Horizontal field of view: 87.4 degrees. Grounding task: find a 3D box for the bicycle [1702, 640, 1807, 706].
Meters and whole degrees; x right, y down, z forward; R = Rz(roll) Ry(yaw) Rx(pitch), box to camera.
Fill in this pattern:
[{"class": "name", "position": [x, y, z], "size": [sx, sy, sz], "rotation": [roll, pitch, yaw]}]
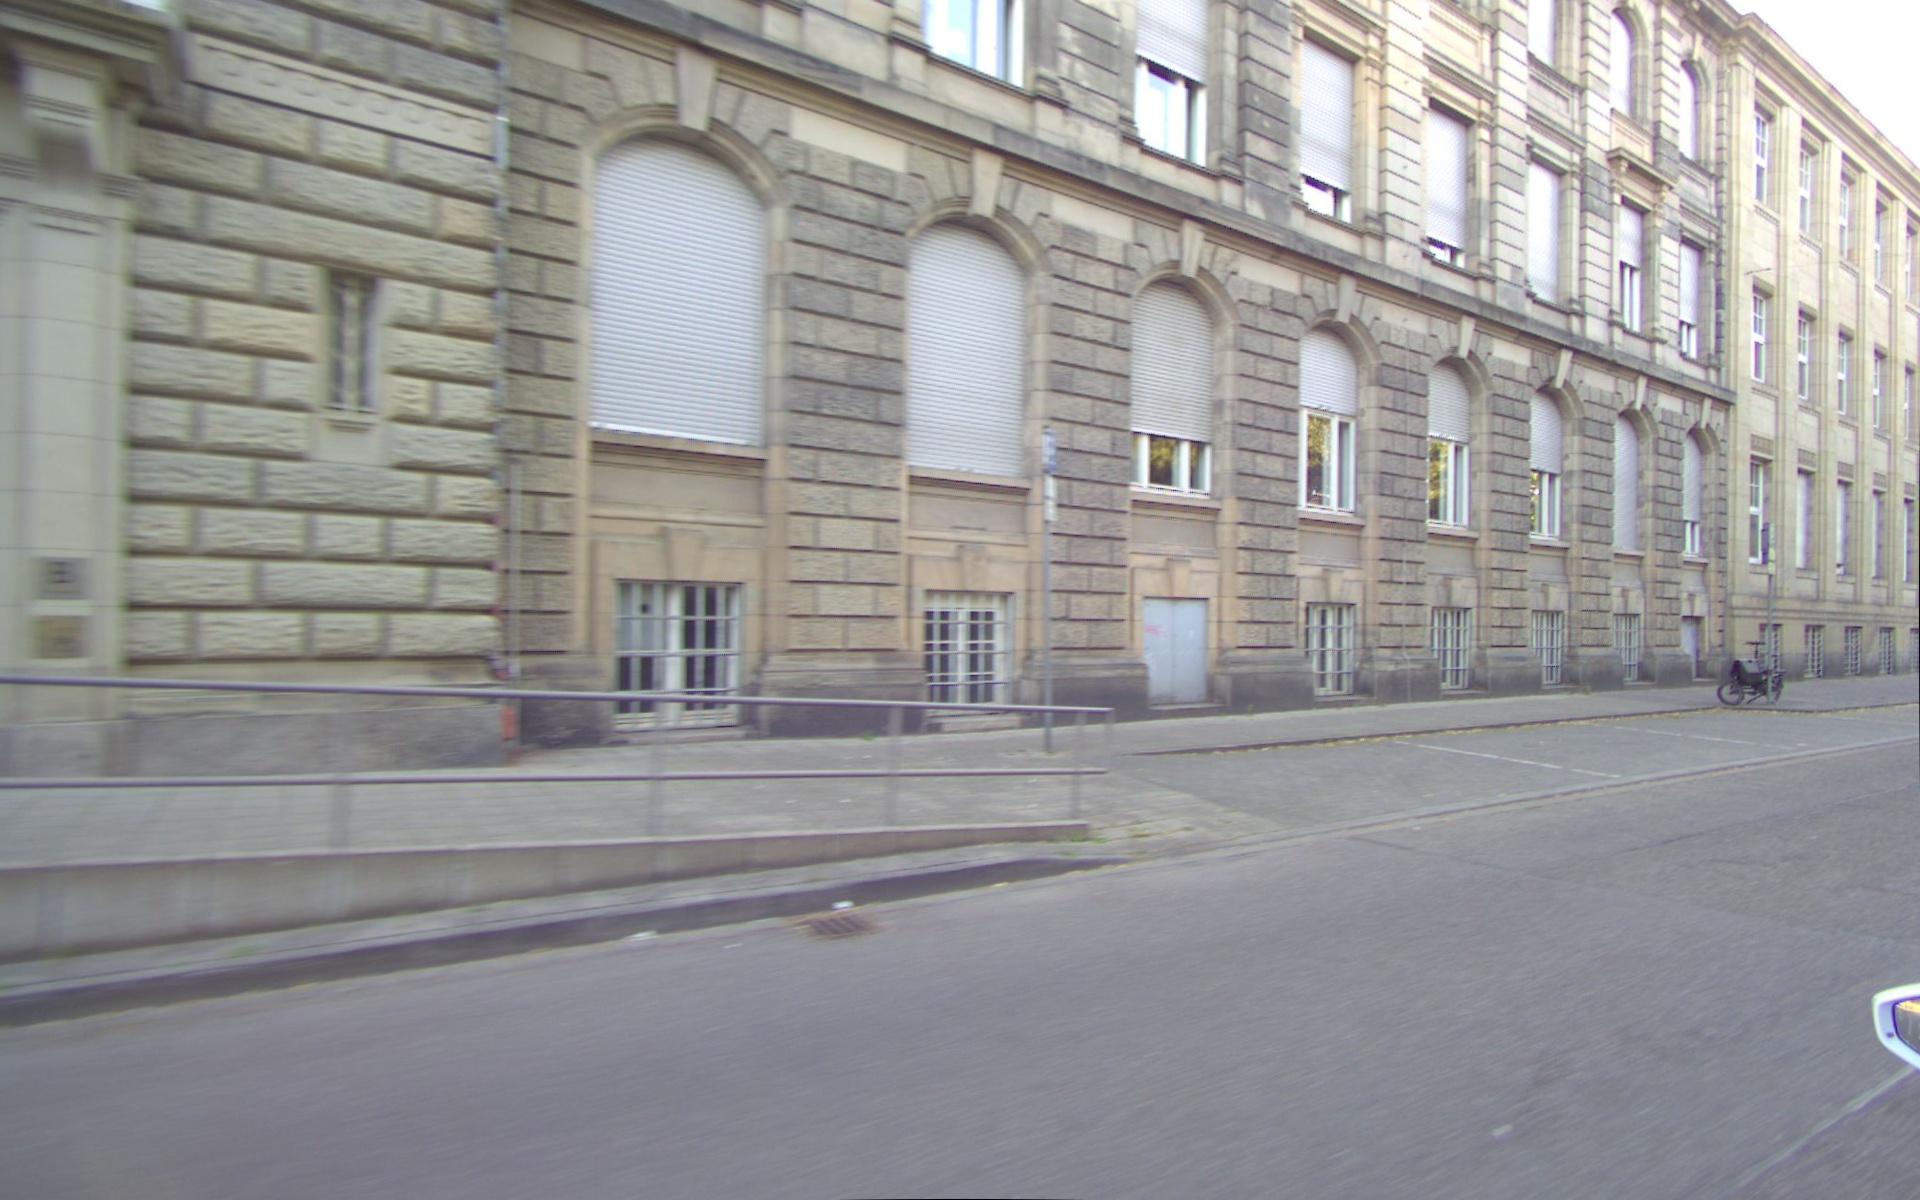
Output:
[{"class": "bicycle", "position": [14.709, 1.322, 18.584], "size": [1.959, 1.116, 0.848], "rotation": [2, 1, -31]}]
